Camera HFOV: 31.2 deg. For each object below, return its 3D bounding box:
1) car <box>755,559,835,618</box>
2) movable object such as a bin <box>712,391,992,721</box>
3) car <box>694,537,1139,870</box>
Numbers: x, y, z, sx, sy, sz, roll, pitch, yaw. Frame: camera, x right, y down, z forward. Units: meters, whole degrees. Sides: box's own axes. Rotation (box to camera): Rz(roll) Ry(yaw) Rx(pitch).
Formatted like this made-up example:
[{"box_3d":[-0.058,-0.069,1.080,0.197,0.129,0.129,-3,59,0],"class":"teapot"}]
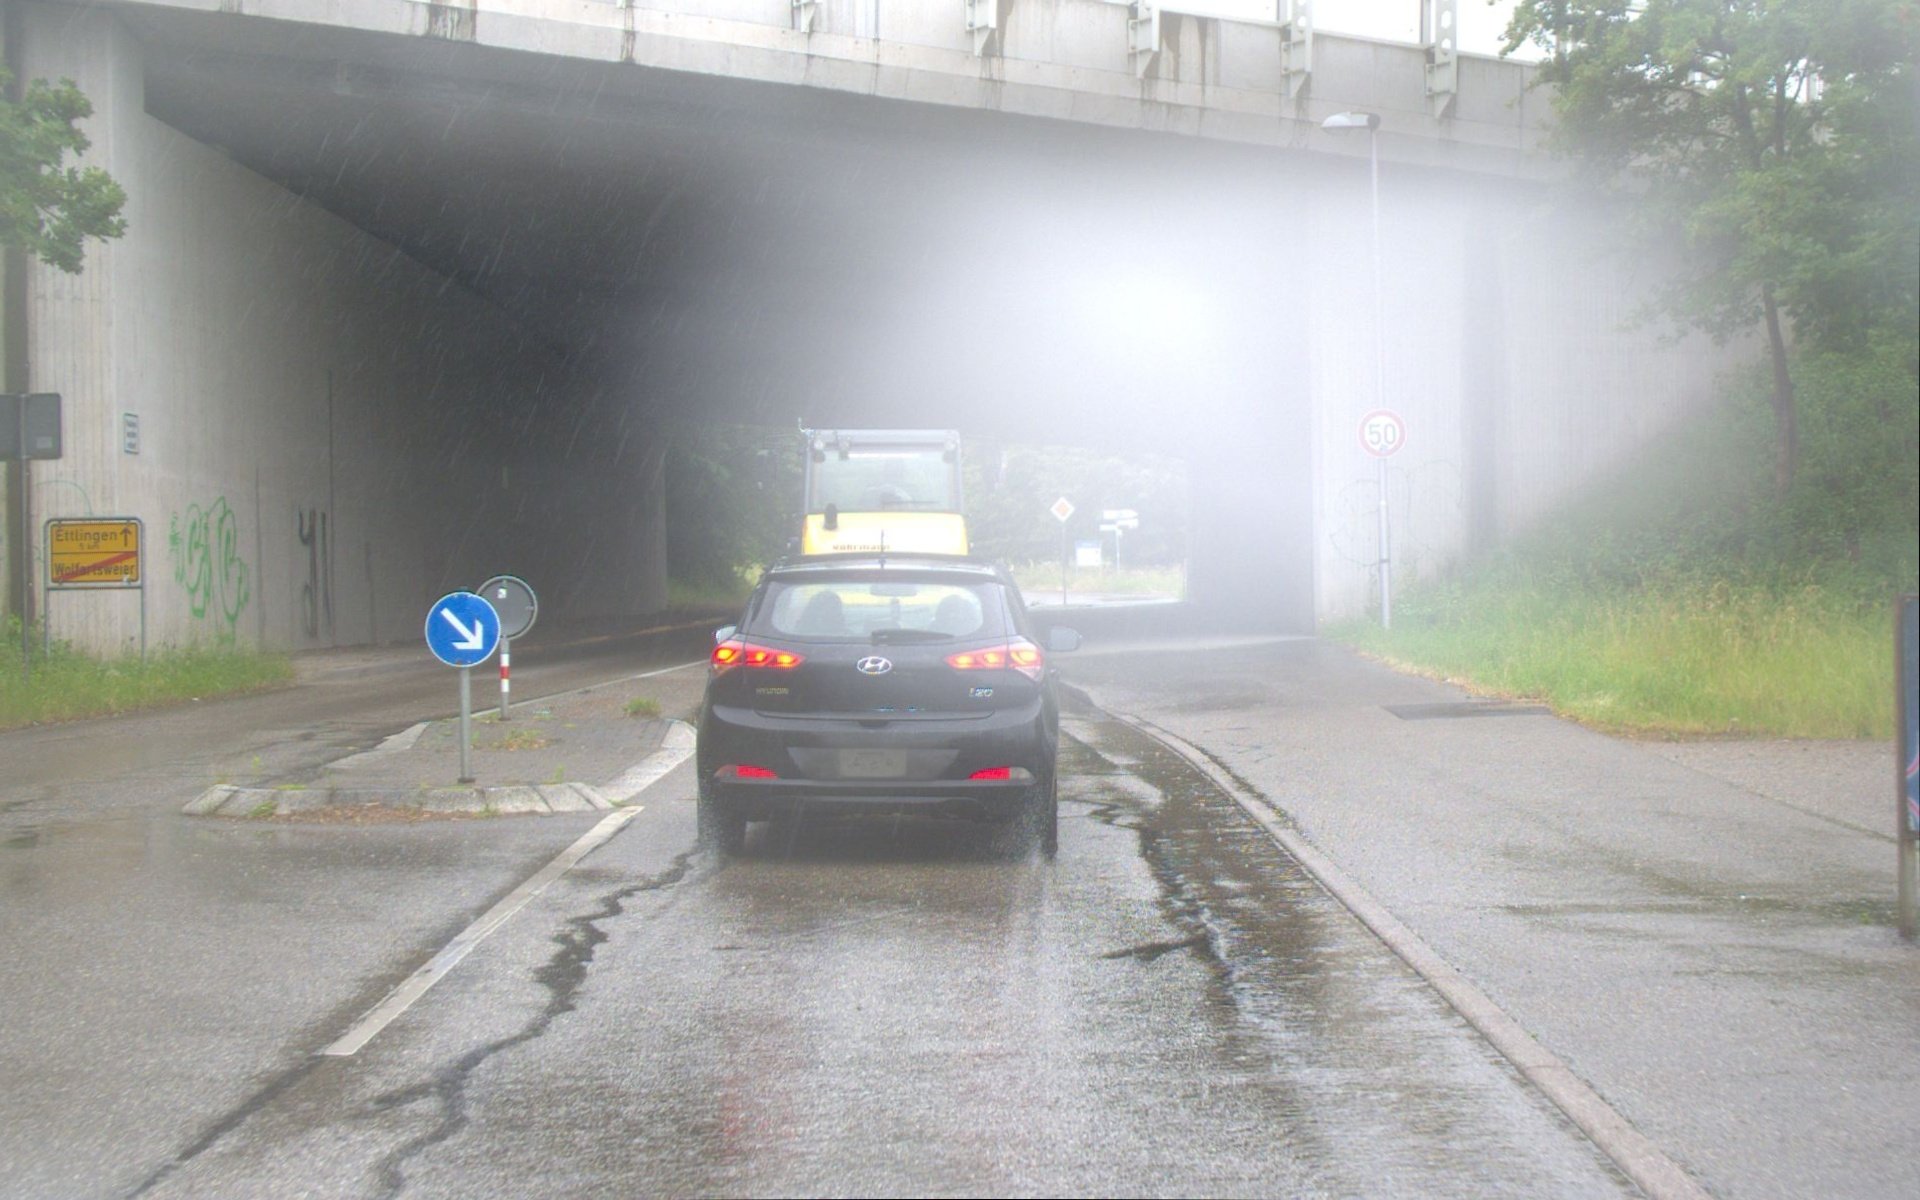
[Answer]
[{"box_3d":[-4.178,-0.309,87.565,1.690,1.482,4.072,0,1,2],"class":"car"},{"box_3d":[-0.964,-0.385,31.416,2.245,2.660,6.627,1,0,-1],"class":"movable object such as a bin"},{"box_3d":[-0.245,0.452,17.582,1.993,1.482,4.000,1,0,-1],"class":"car"}]
